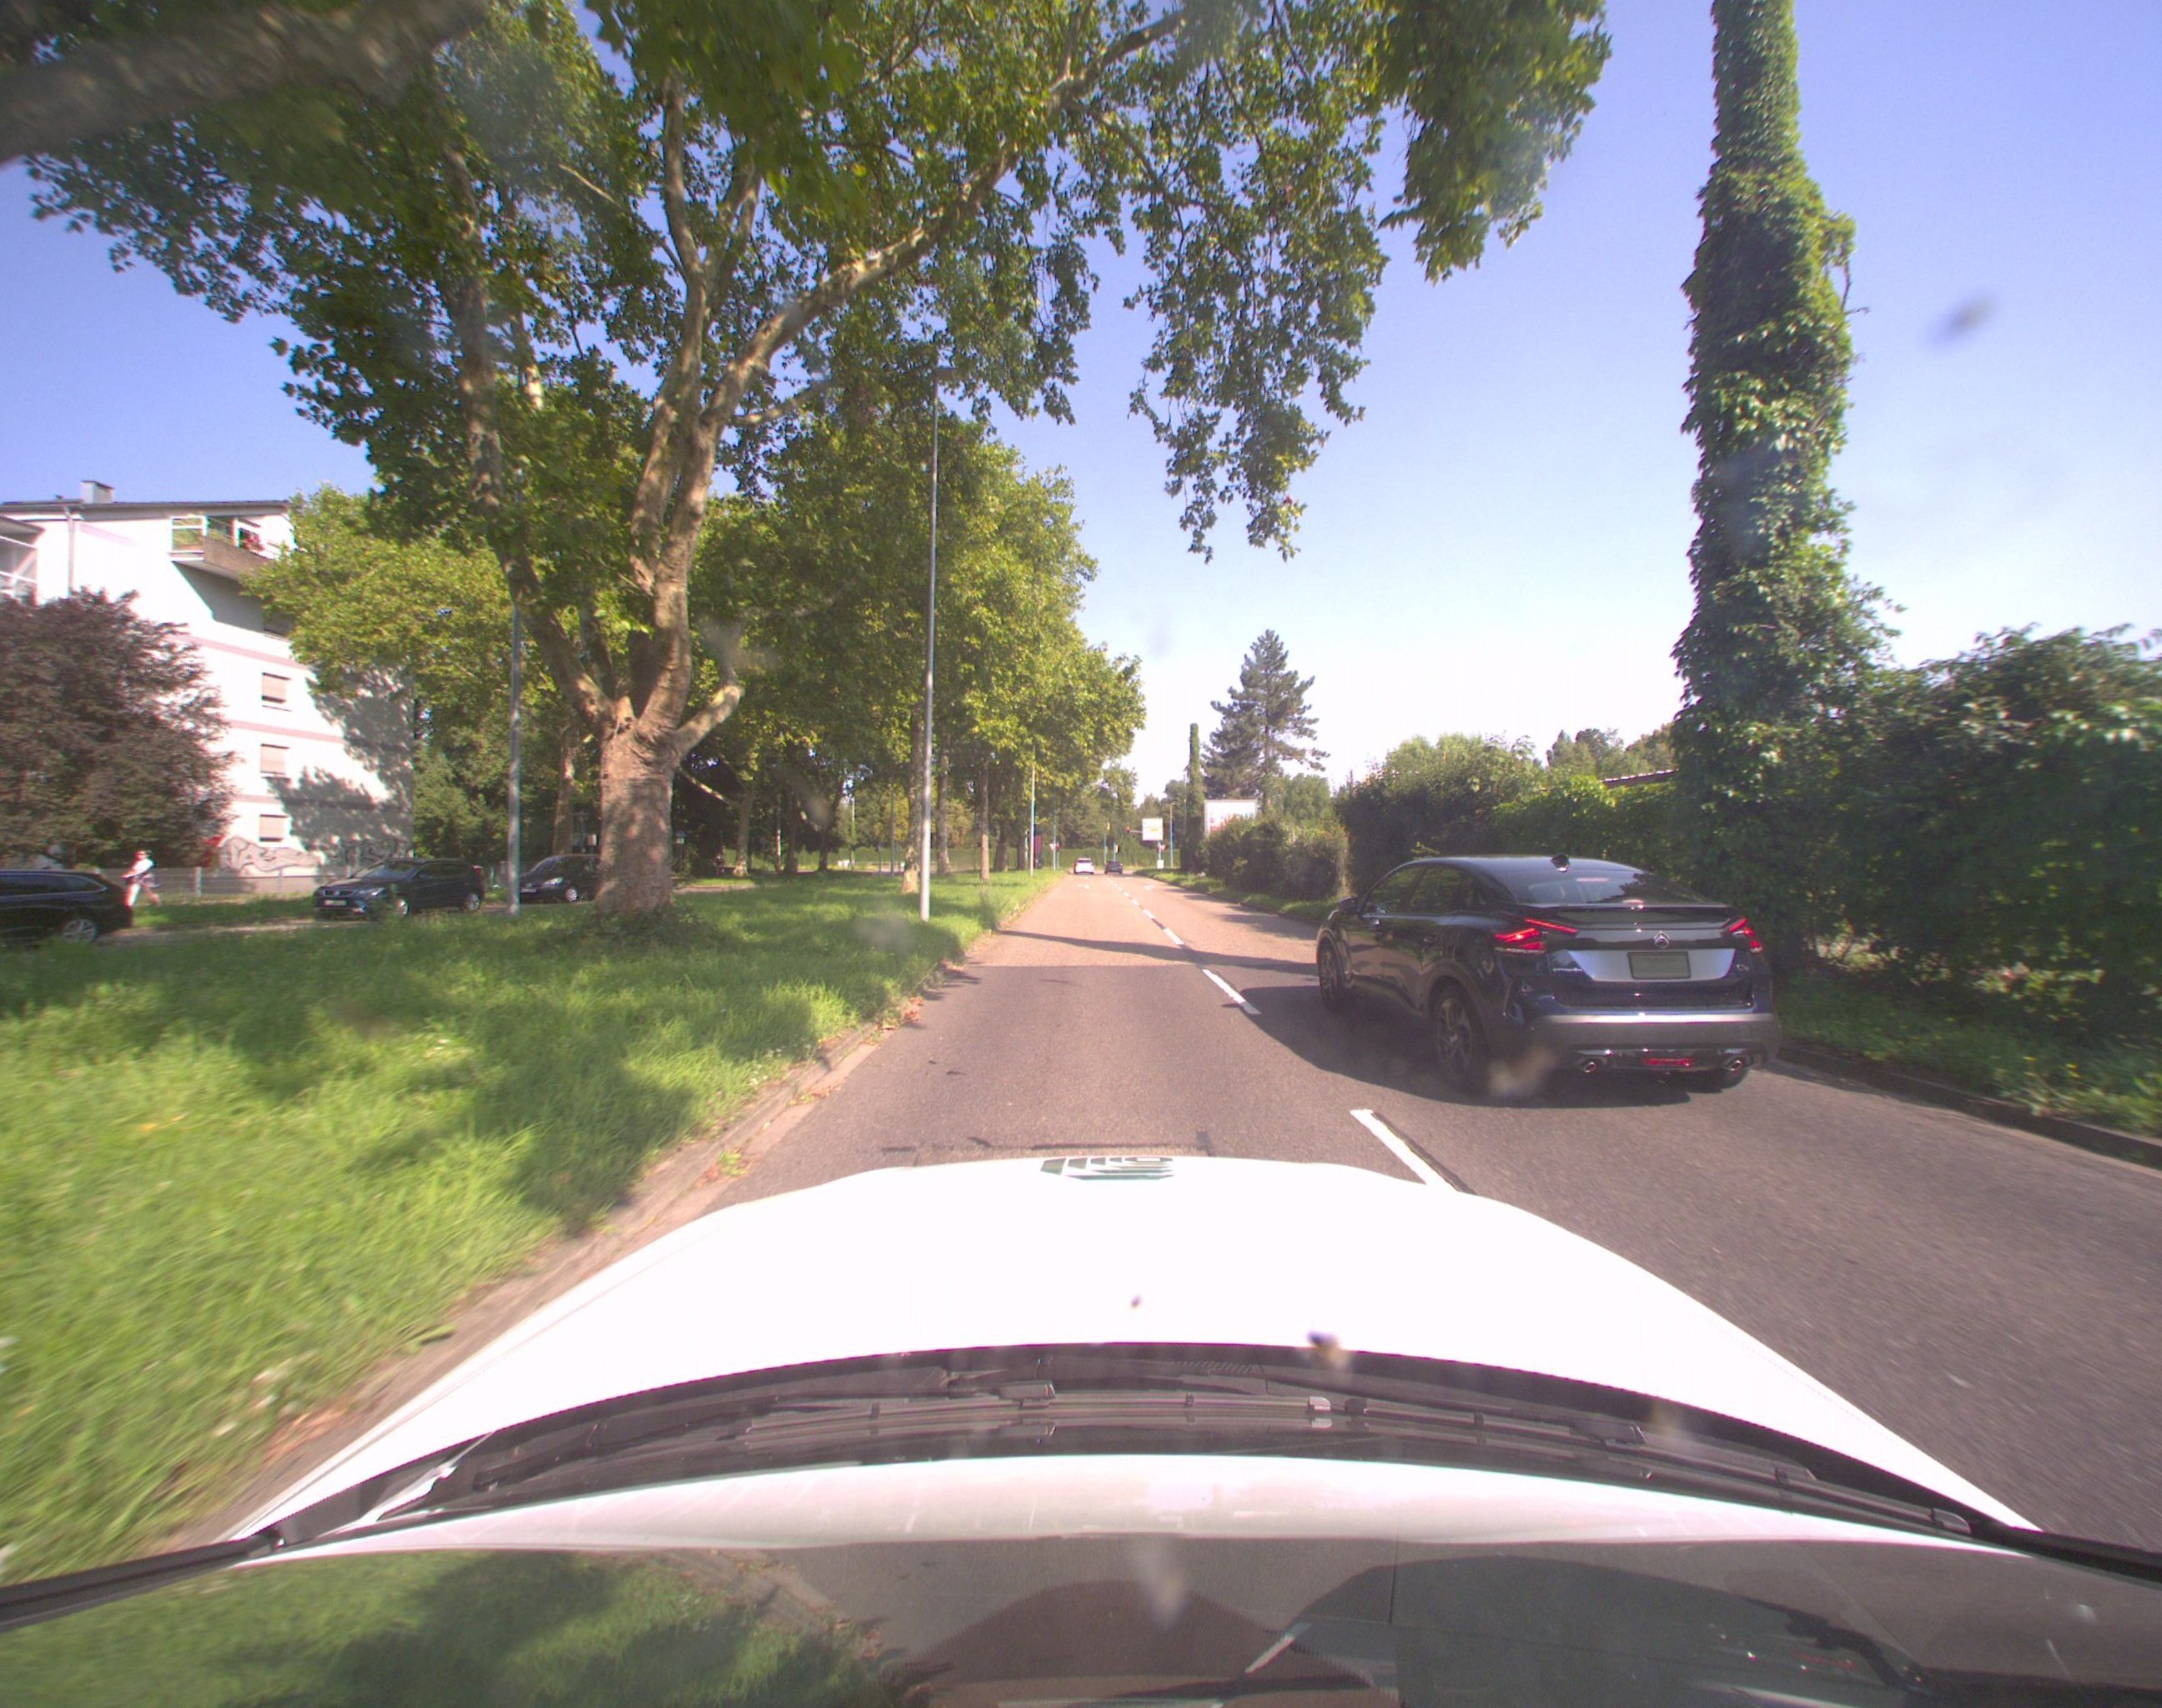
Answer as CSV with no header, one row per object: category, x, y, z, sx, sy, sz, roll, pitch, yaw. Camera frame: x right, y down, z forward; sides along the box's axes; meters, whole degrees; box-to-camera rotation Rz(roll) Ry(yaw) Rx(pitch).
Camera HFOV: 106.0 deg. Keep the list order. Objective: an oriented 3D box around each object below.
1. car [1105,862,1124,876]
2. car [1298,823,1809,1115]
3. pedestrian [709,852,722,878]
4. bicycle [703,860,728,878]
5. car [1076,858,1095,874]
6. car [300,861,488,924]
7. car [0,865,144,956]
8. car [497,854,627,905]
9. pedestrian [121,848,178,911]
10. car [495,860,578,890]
car,3.427,1.517,84.628,1.792,1.401,3.999,0,-1,0
car,3.186,0.659,6.637,1.640,1.588,4.252,-1,-1,-1
pedestrian,-24.539,0.750,54.685,0.541,1.691,0.657,1,-1,-3
bicycle,-24.544,1.002,54.758,0.543,1.199,2.758,1,-1,-3
car,0.466,1.090,75.850,1.681,1.462,4.001,0,-1,1
car,-18.646,0.976,22.369,1.693,1.568,4.000,0,-1,1
car,-18.968,0.954,13.432,1.693,1.508,4.541,0,-1,1
car,-18.888,0.894,29.924,1.693,1.732,4.660,0,-1,1
pedestrian,-24.982,0.676,21.856,0.645,1.646,0.734,0,-1,-1
car,-32.573,1.226,48.889,1.688,1.726,4.395,0,-1,6
